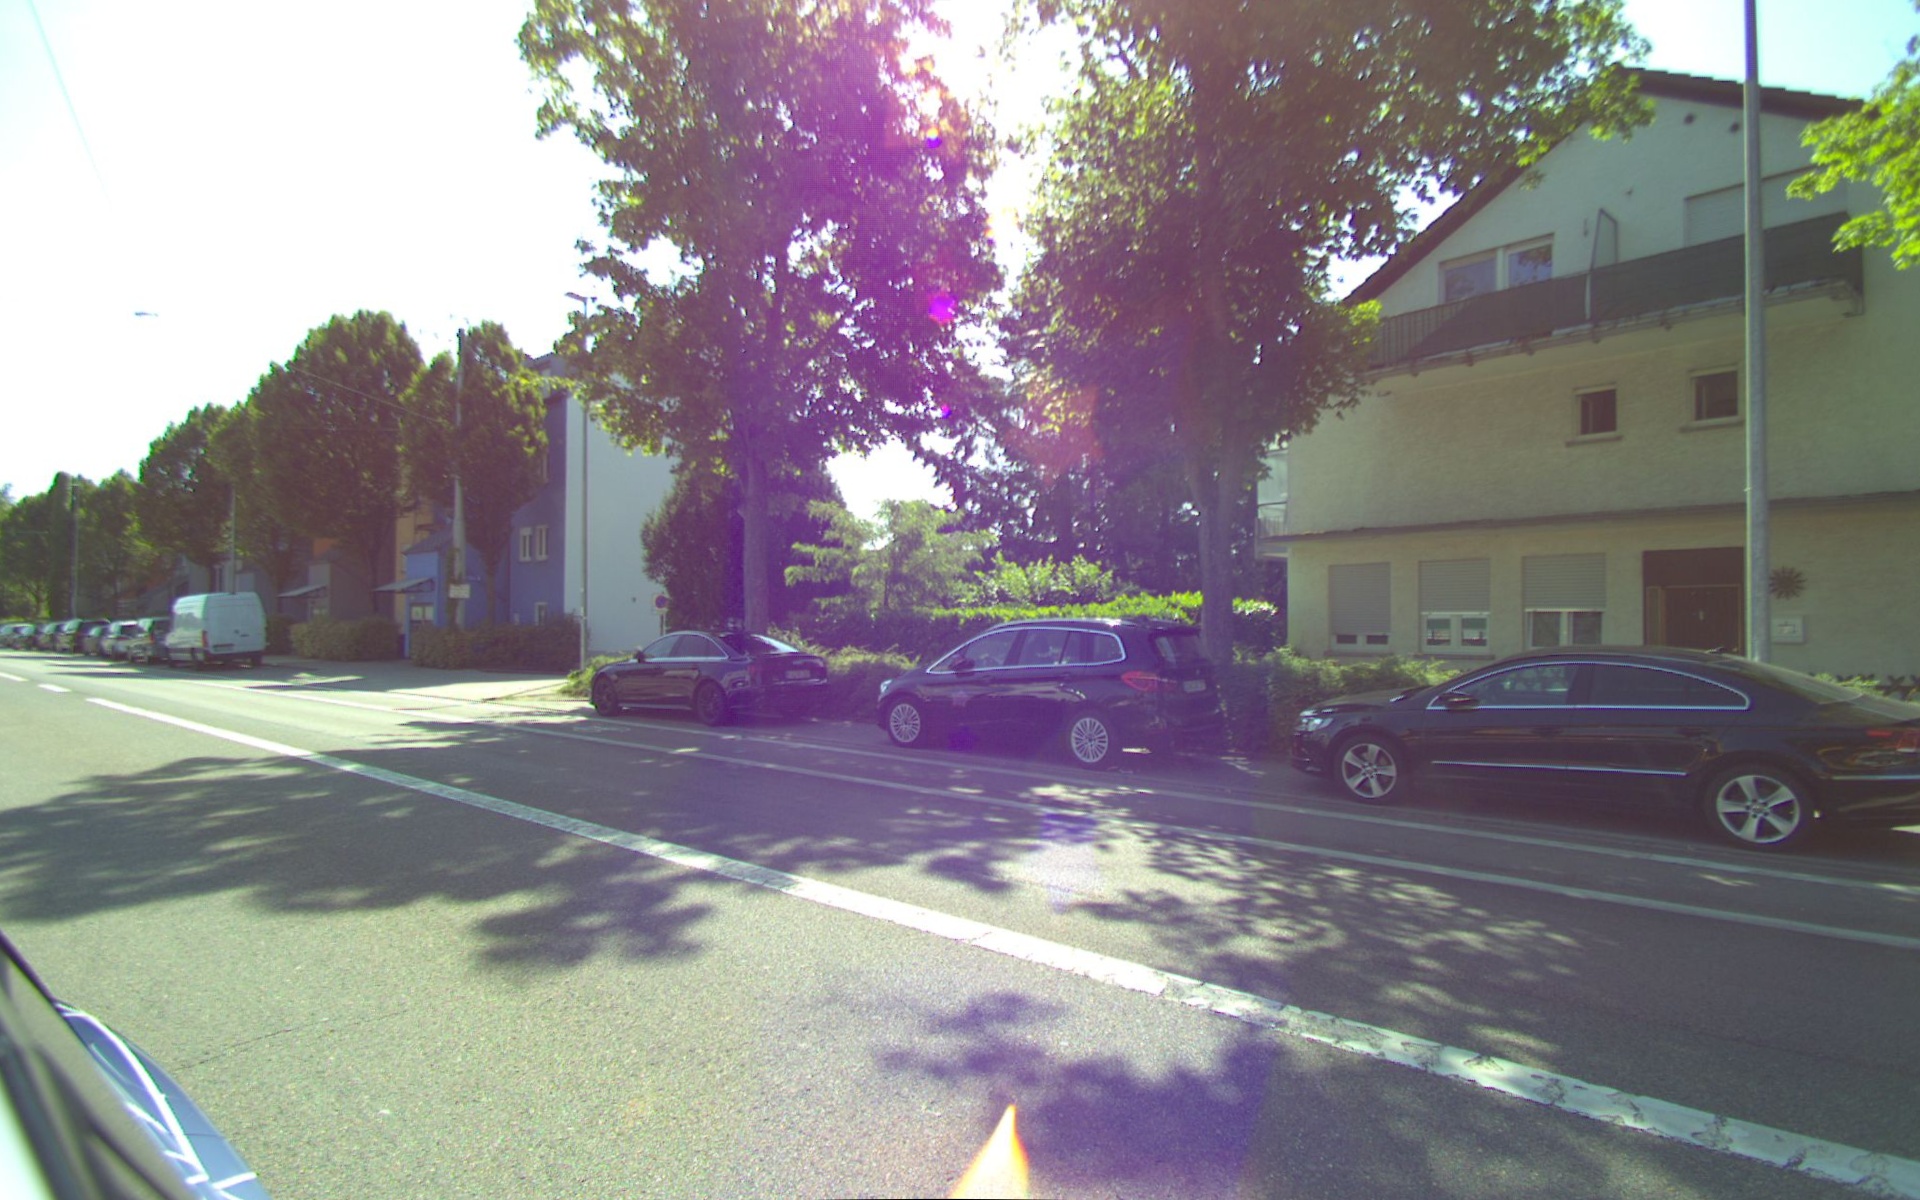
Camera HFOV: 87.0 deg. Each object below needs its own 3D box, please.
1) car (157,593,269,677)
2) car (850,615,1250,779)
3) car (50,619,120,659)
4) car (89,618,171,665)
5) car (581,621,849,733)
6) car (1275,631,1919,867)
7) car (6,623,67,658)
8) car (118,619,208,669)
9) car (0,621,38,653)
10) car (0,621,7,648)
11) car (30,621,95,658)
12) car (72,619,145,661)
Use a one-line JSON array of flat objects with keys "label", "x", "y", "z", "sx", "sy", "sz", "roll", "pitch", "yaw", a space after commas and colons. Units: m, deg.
[{"label": "car", "x": -27.365, "y": 1.234, "z": 36.970, "sx": 6.213, "sy": 2.713, "sz": 1.973, "roll": -2, "pitch": 4, "yaw": 43}, {"label": "car", "x": 0.927, "y": 1.014, "z": 12.245, "sx": 4.619, "sy": 1.583, "sz": 1.844, "roll": -1, "pitch": 0, "yaw": 41}, {"label": "car", "x": -45.860, "y": 2.013, "z": 53.031, "sx": 4.766, "sy": 1.818, "sz": 1.974, "roll": -2, "pitch": 4, "yaw": 41}, {"label": "car", "x": -38.019, "y": 1.870, "z": 46.306, "sx": 4.766, "sy": 1.818, "sz": 1.974, "roll": -2, "pitch": 4, "yaw": 41}, {"label": "car", "x": -4.085, "y": 1.152, "z": 16.515, "sx": 4.616, "sy": 1.583, "sz": 1.845, "roll": -1, "pitch": -2, "yaw": 39}, {"label": "car", "x": 5.219, "y": 1.008, "z": 8.408, "sx": 4.619, "sy": 1.426, "sz": 1.844, "roll": -1, "pitch": 0, "yaw": 41}, {"label": "car", "x": -54.888, "y": 2.370, "z": 60.130, "sx": 4.766, "sy": 1.818, "sz": 1.974, "roll": -2, "pitch": 4, "yaw": 41}, {"label": "car", "x": -33.509, "y": 1.805, "z": 42.522, "sx": 4.766, "sy": 1.818, "sz": 1.974, "roll": -2, "pitch": 4, "yaw": 41}, {"label": "car", "x": -60.280, "y": 2.352, "z": 64.193, "sx": 4.766, "sy": 1.818, "sz": 1.974, "roll": -2, "pitch": 4, "yaw": 41}, {"label": "car", "x": -68.794, "y": 2.494, "z": 71.141, "sx": 4.766, "sy": 1.818, "sz": 1.974, "roll": -2, "pitch": 4, "yaw": 41}, {"label": "car", "x": -50.252, "y": 2.191, "z": 56.660, "sx": 4.766, "sy": 1.818, "sz": 1.974, "roll": -2, "pitch": 4, "yaw": 41}, {"label": "car", "x": -42.112, "y": 1.951, "z": 50.018, "sx": 4.254, "sy": 1.818, "sz": 1.974, "roll": -2, "pitch": 4, "yaw": 41}]
